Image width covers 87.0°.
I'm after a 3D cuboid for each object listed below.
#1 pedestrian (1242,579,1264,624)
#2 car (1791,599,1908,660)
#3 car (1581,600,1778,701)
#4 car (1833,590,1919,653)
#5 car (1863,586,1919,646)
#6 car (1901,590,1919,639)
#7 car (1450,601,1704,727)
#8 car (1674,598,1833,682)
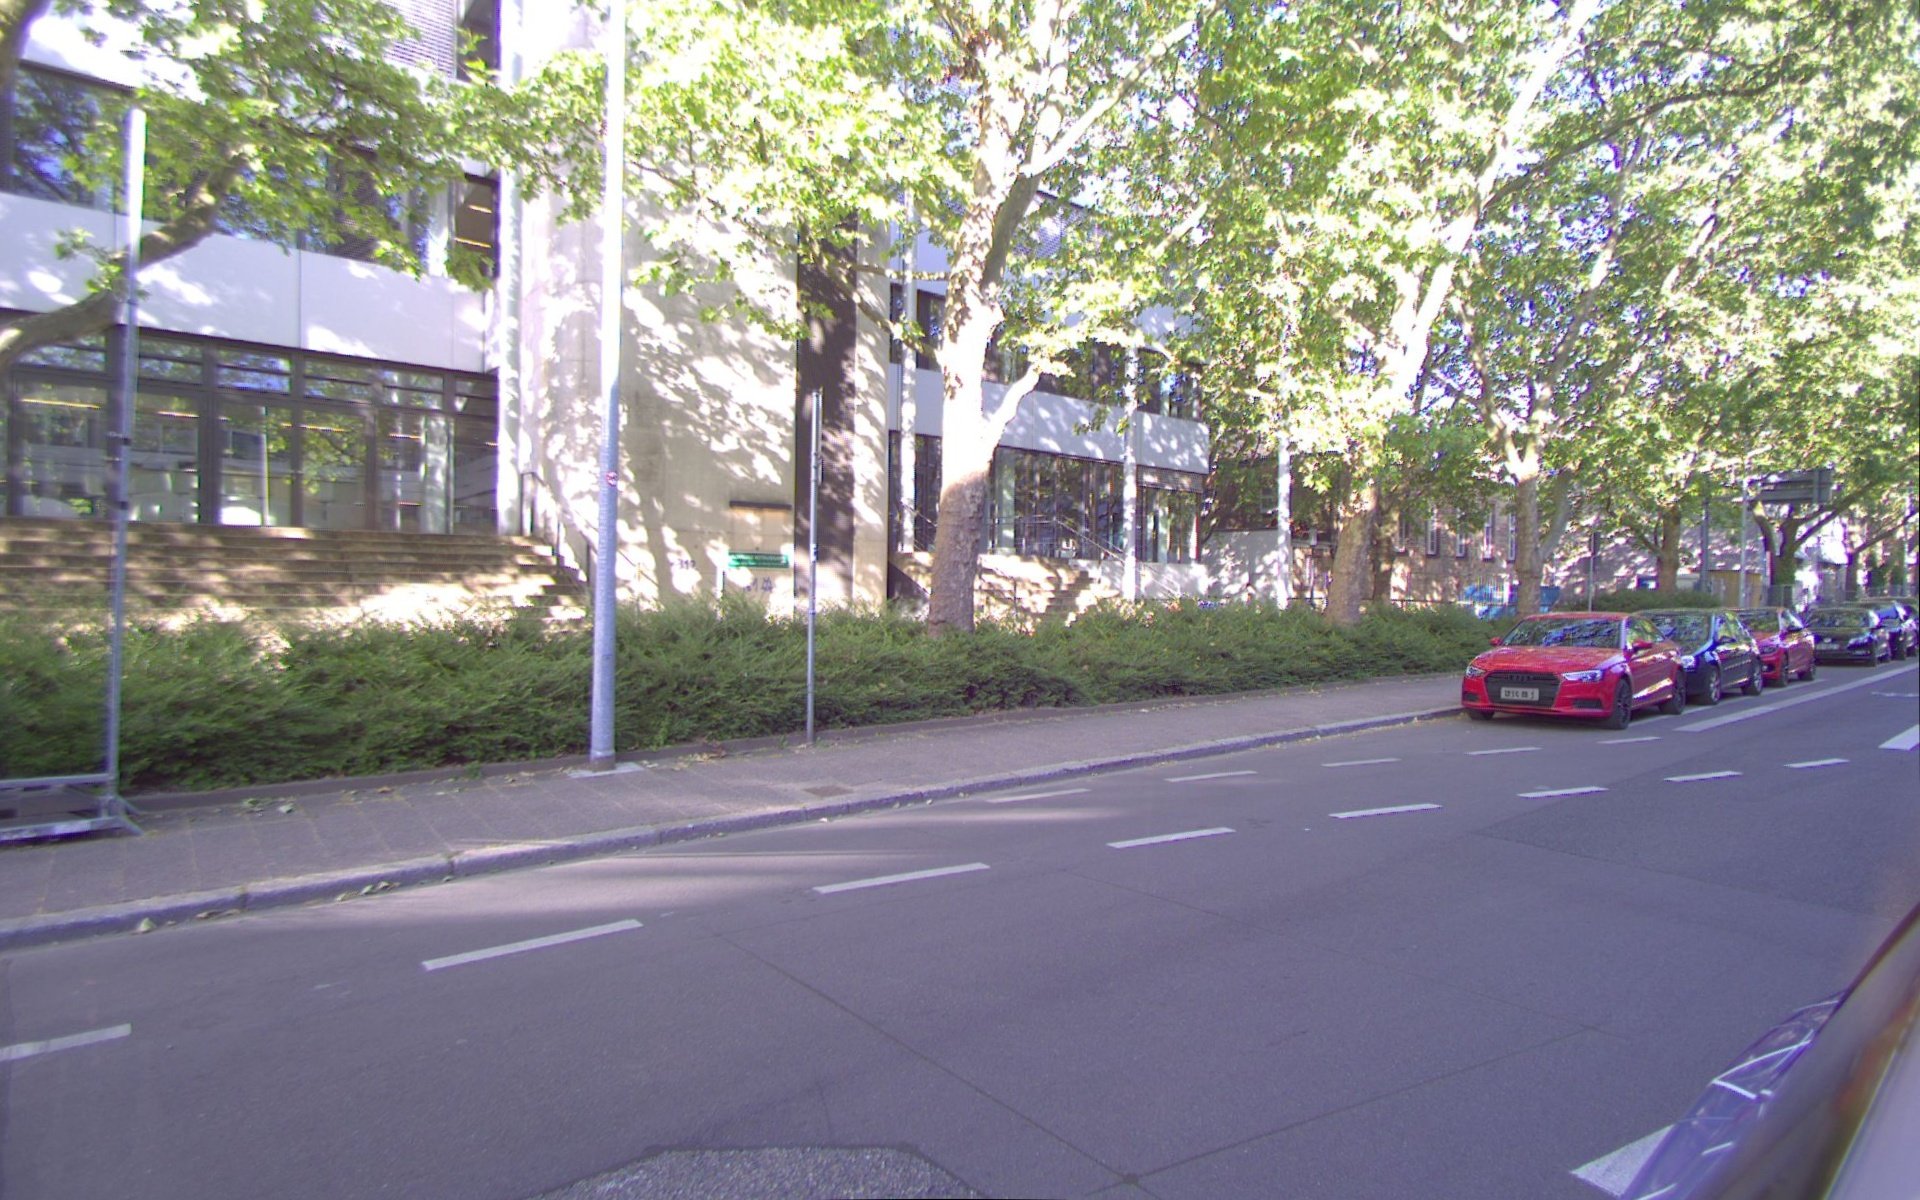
[{"bbox_3d":[11.142,0.057,38.512,0.649,1.691,0.525,0,0,-39],"label":"pedestrian"},{"bbox_3d":[22.949,0.719,26.074,3.841,1.451,1.753,0,-1,-41],"label":"car"},{"bbox_3d":[11.853,0.740,16.598,3.841,1.451,1.753,0,-1,-41],"label":"car"},{"bbox_3d":[26.716,0.589,29.186,4.101,1.674,1.753,0,-1,-41],"label":"car"},{"bbox_3d":[30.973,0.490,32.977,4.370,1.843,1.753,0,-1,-41],"label":"car"},{"bbox_3d":[36.196,0.520,37.274,4.370,1.750,1.753,0,-1,-41],"label":"car"},{"bbox_3d":[8.277,0.742,13.453,3.930,1.427,1.753,0,-1,-41],"label":"car"},{"bbox_3d":[15.704,0.722,19.975,3.841,1.486,1.753,0,-1,-41],"label":"car"}]
